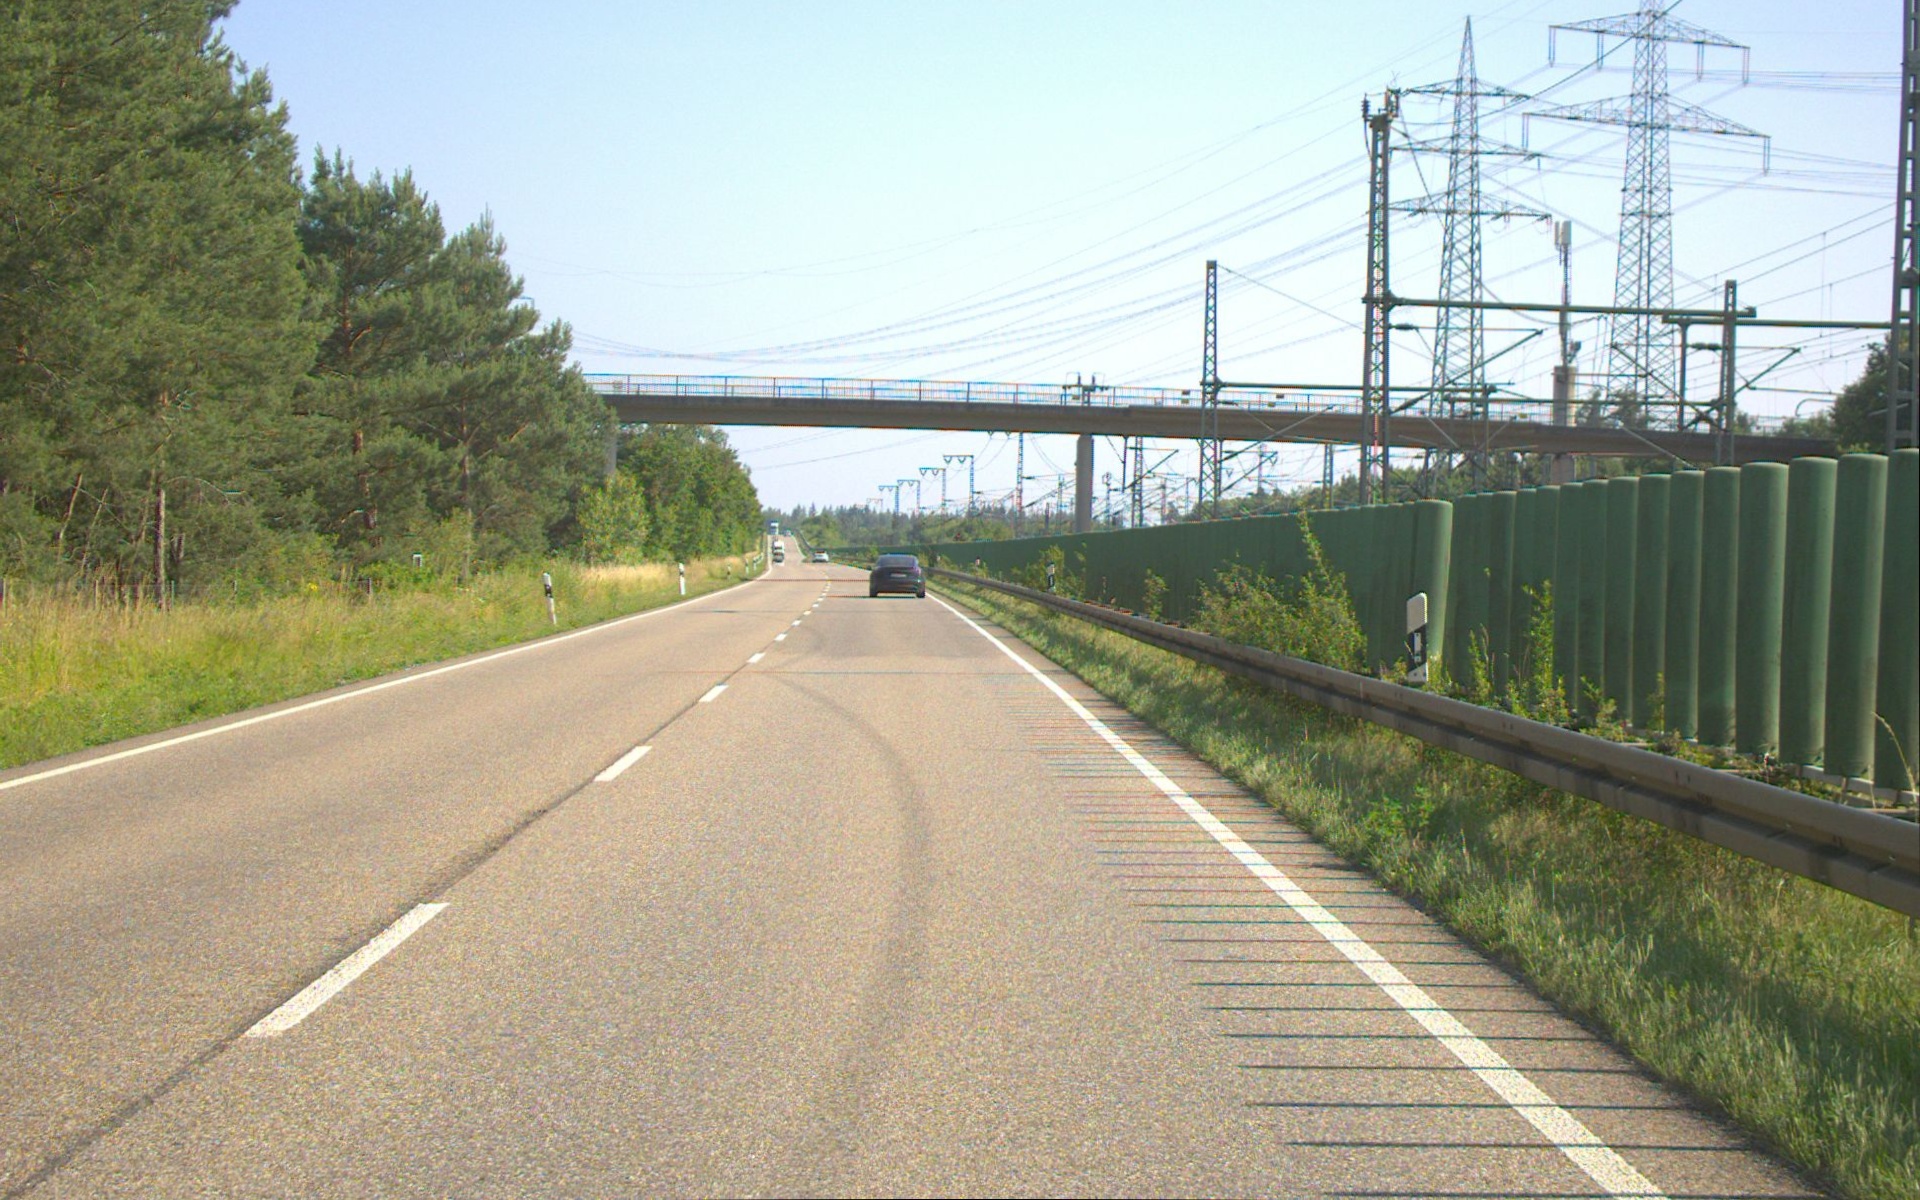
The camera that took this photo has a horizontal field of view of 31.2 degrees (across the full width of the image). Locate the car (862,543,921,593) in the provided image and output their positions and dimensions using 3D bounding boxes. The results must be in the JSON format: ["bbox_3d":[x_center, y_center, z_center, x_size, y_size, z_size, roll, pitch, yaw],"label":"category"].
[{"bbox_3d":[-2.326,-1.099,115.446,1.858,1.636,4.001,-1,1,-3],"label":"car"}]
